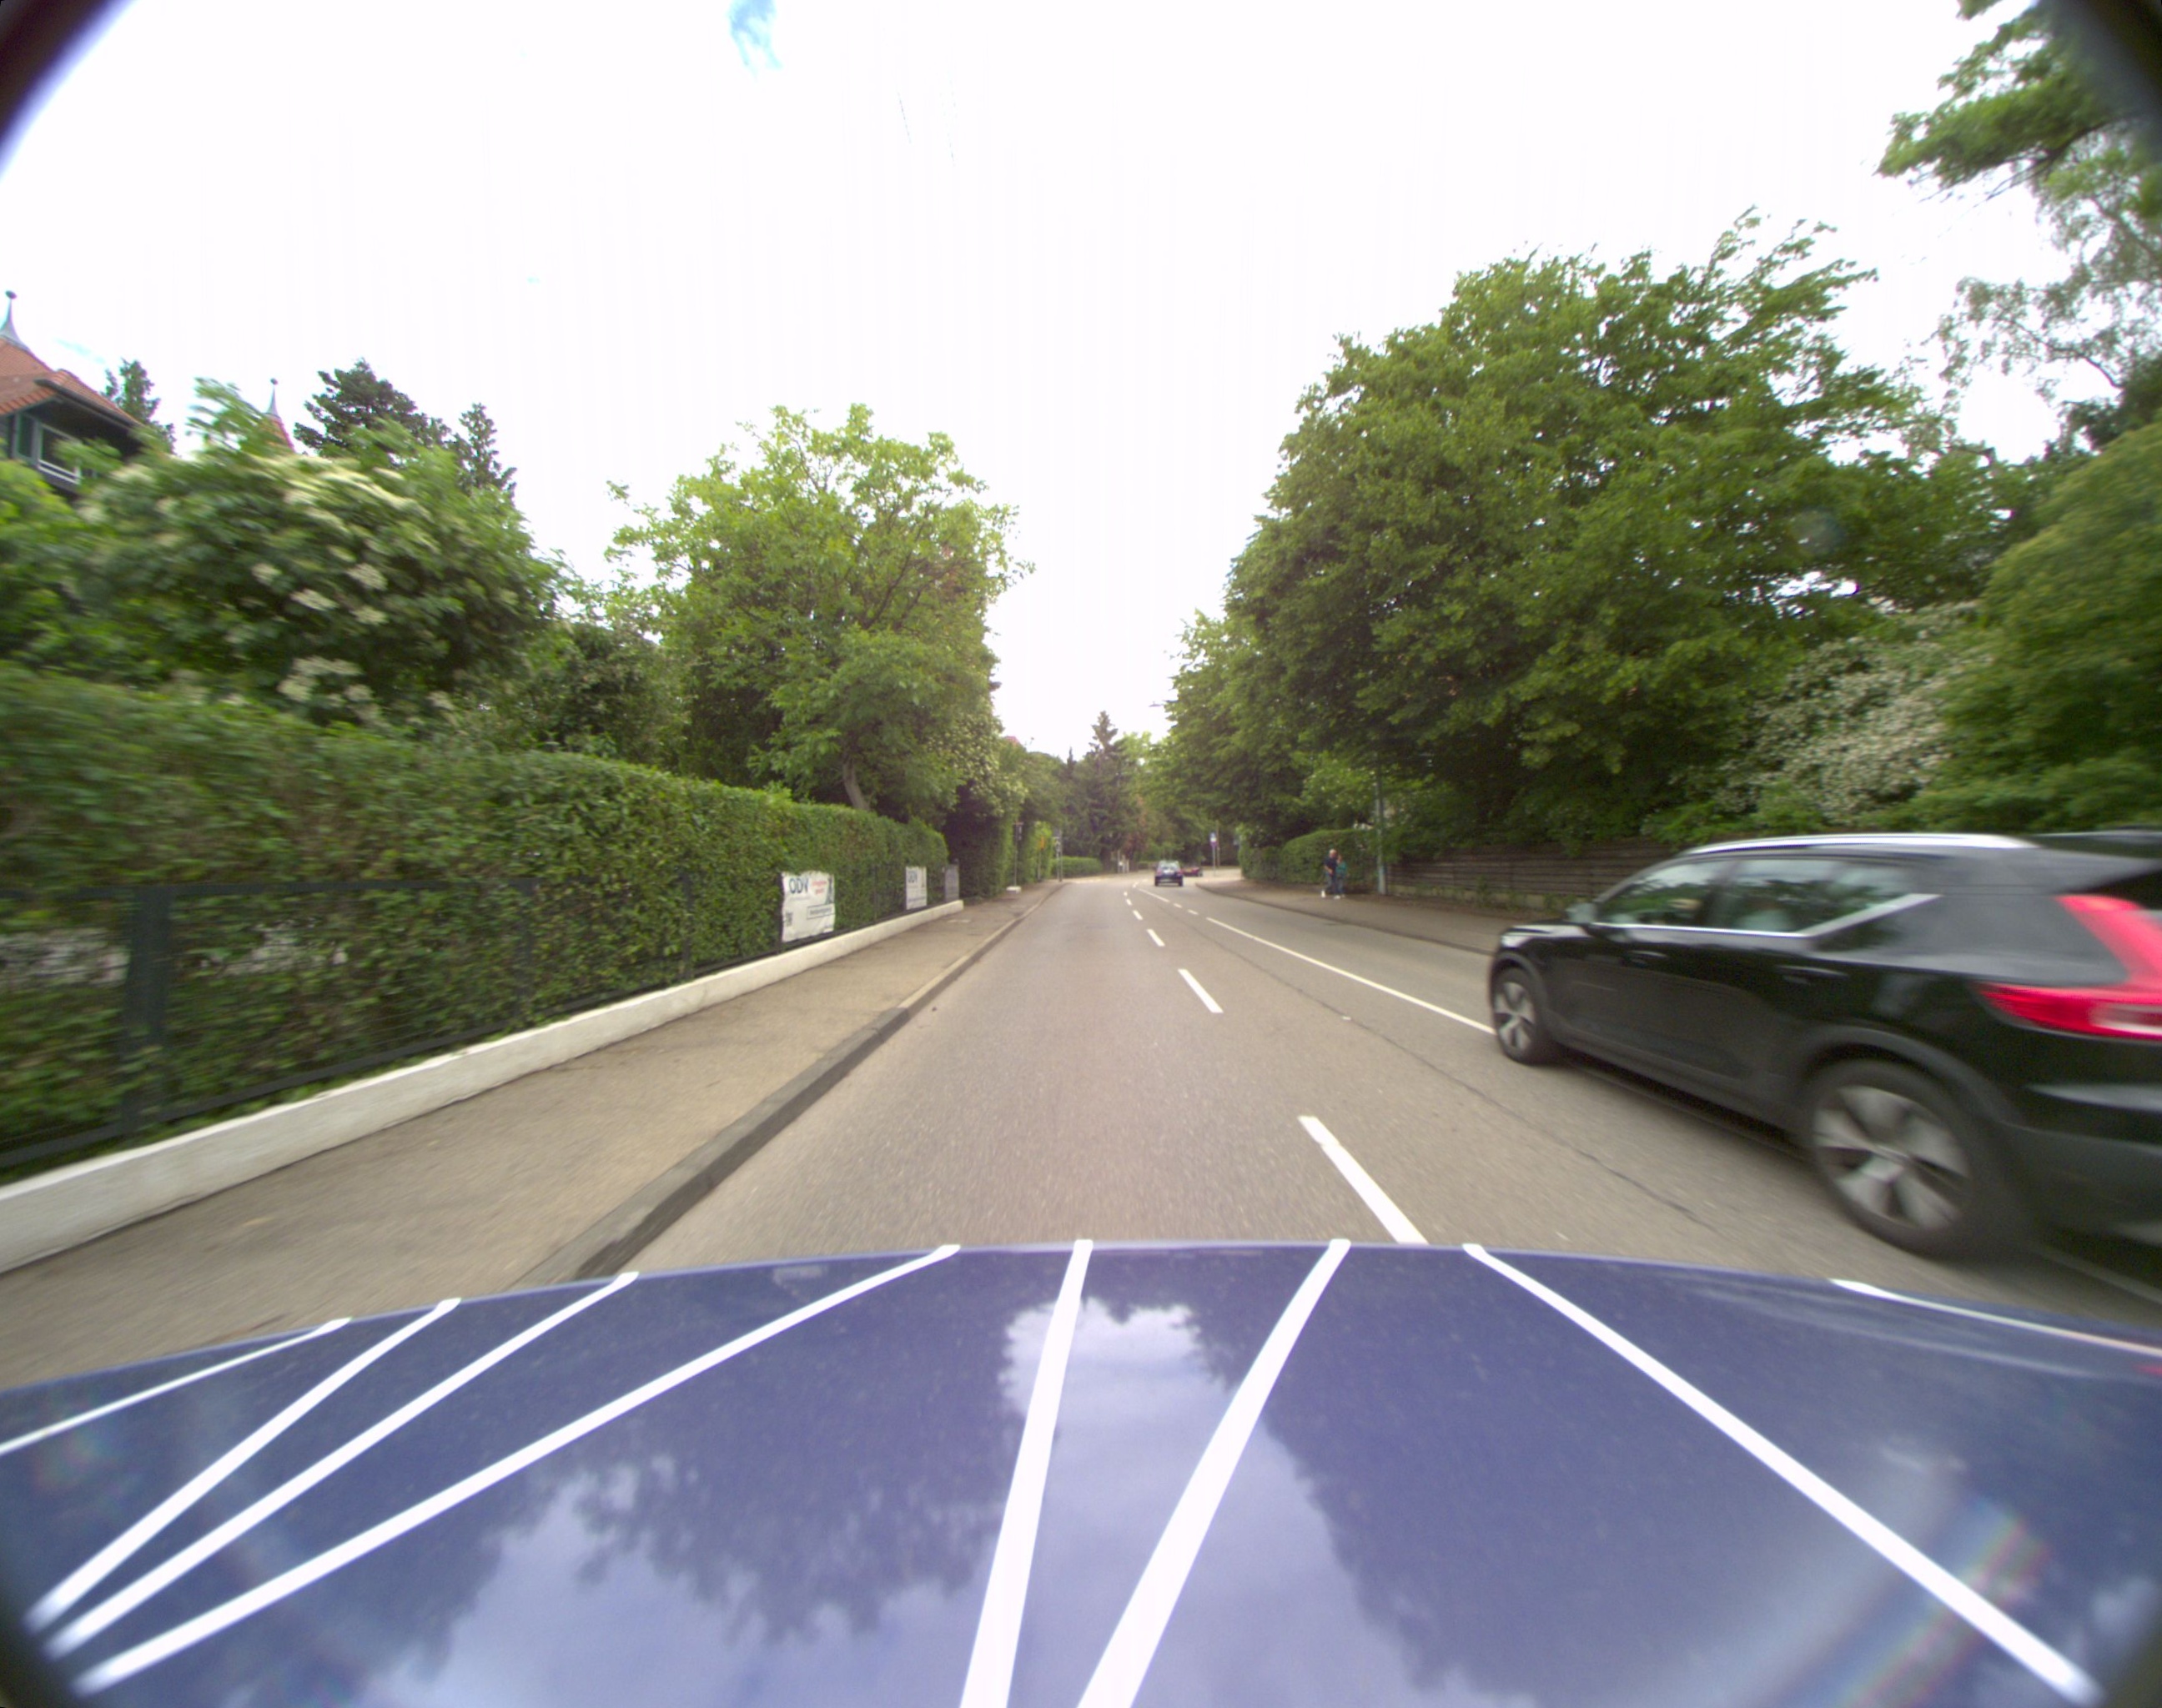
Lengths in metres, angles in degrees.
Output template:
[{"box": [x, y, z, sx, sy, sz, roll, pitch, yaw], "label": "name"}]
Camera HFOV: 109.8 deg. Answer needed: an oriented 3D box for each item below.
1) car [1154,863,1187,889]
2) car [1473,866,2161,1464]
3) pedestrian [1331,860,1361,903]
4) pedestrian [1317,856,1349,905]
[{"box": [5.201, 1.246, 44.649, 1.724, 1.463, 3.532, 0, 0, 3], "label": "car"}, {"box": [4.000, 0.900, 3.939, 1.836, 1.621, 4.283, 0, 0, 2], "label": "car"}, {"box": [9.256, 0.946, 26.555, 0.671, 1.440, 0.757, -1, 0, -13], "label": "pedestrian"}, {"box": [8.628, 0.890, 26.078, 0.631, 1.652, 0.918, -2, 1, -12], "label": "pedestrian"}]
